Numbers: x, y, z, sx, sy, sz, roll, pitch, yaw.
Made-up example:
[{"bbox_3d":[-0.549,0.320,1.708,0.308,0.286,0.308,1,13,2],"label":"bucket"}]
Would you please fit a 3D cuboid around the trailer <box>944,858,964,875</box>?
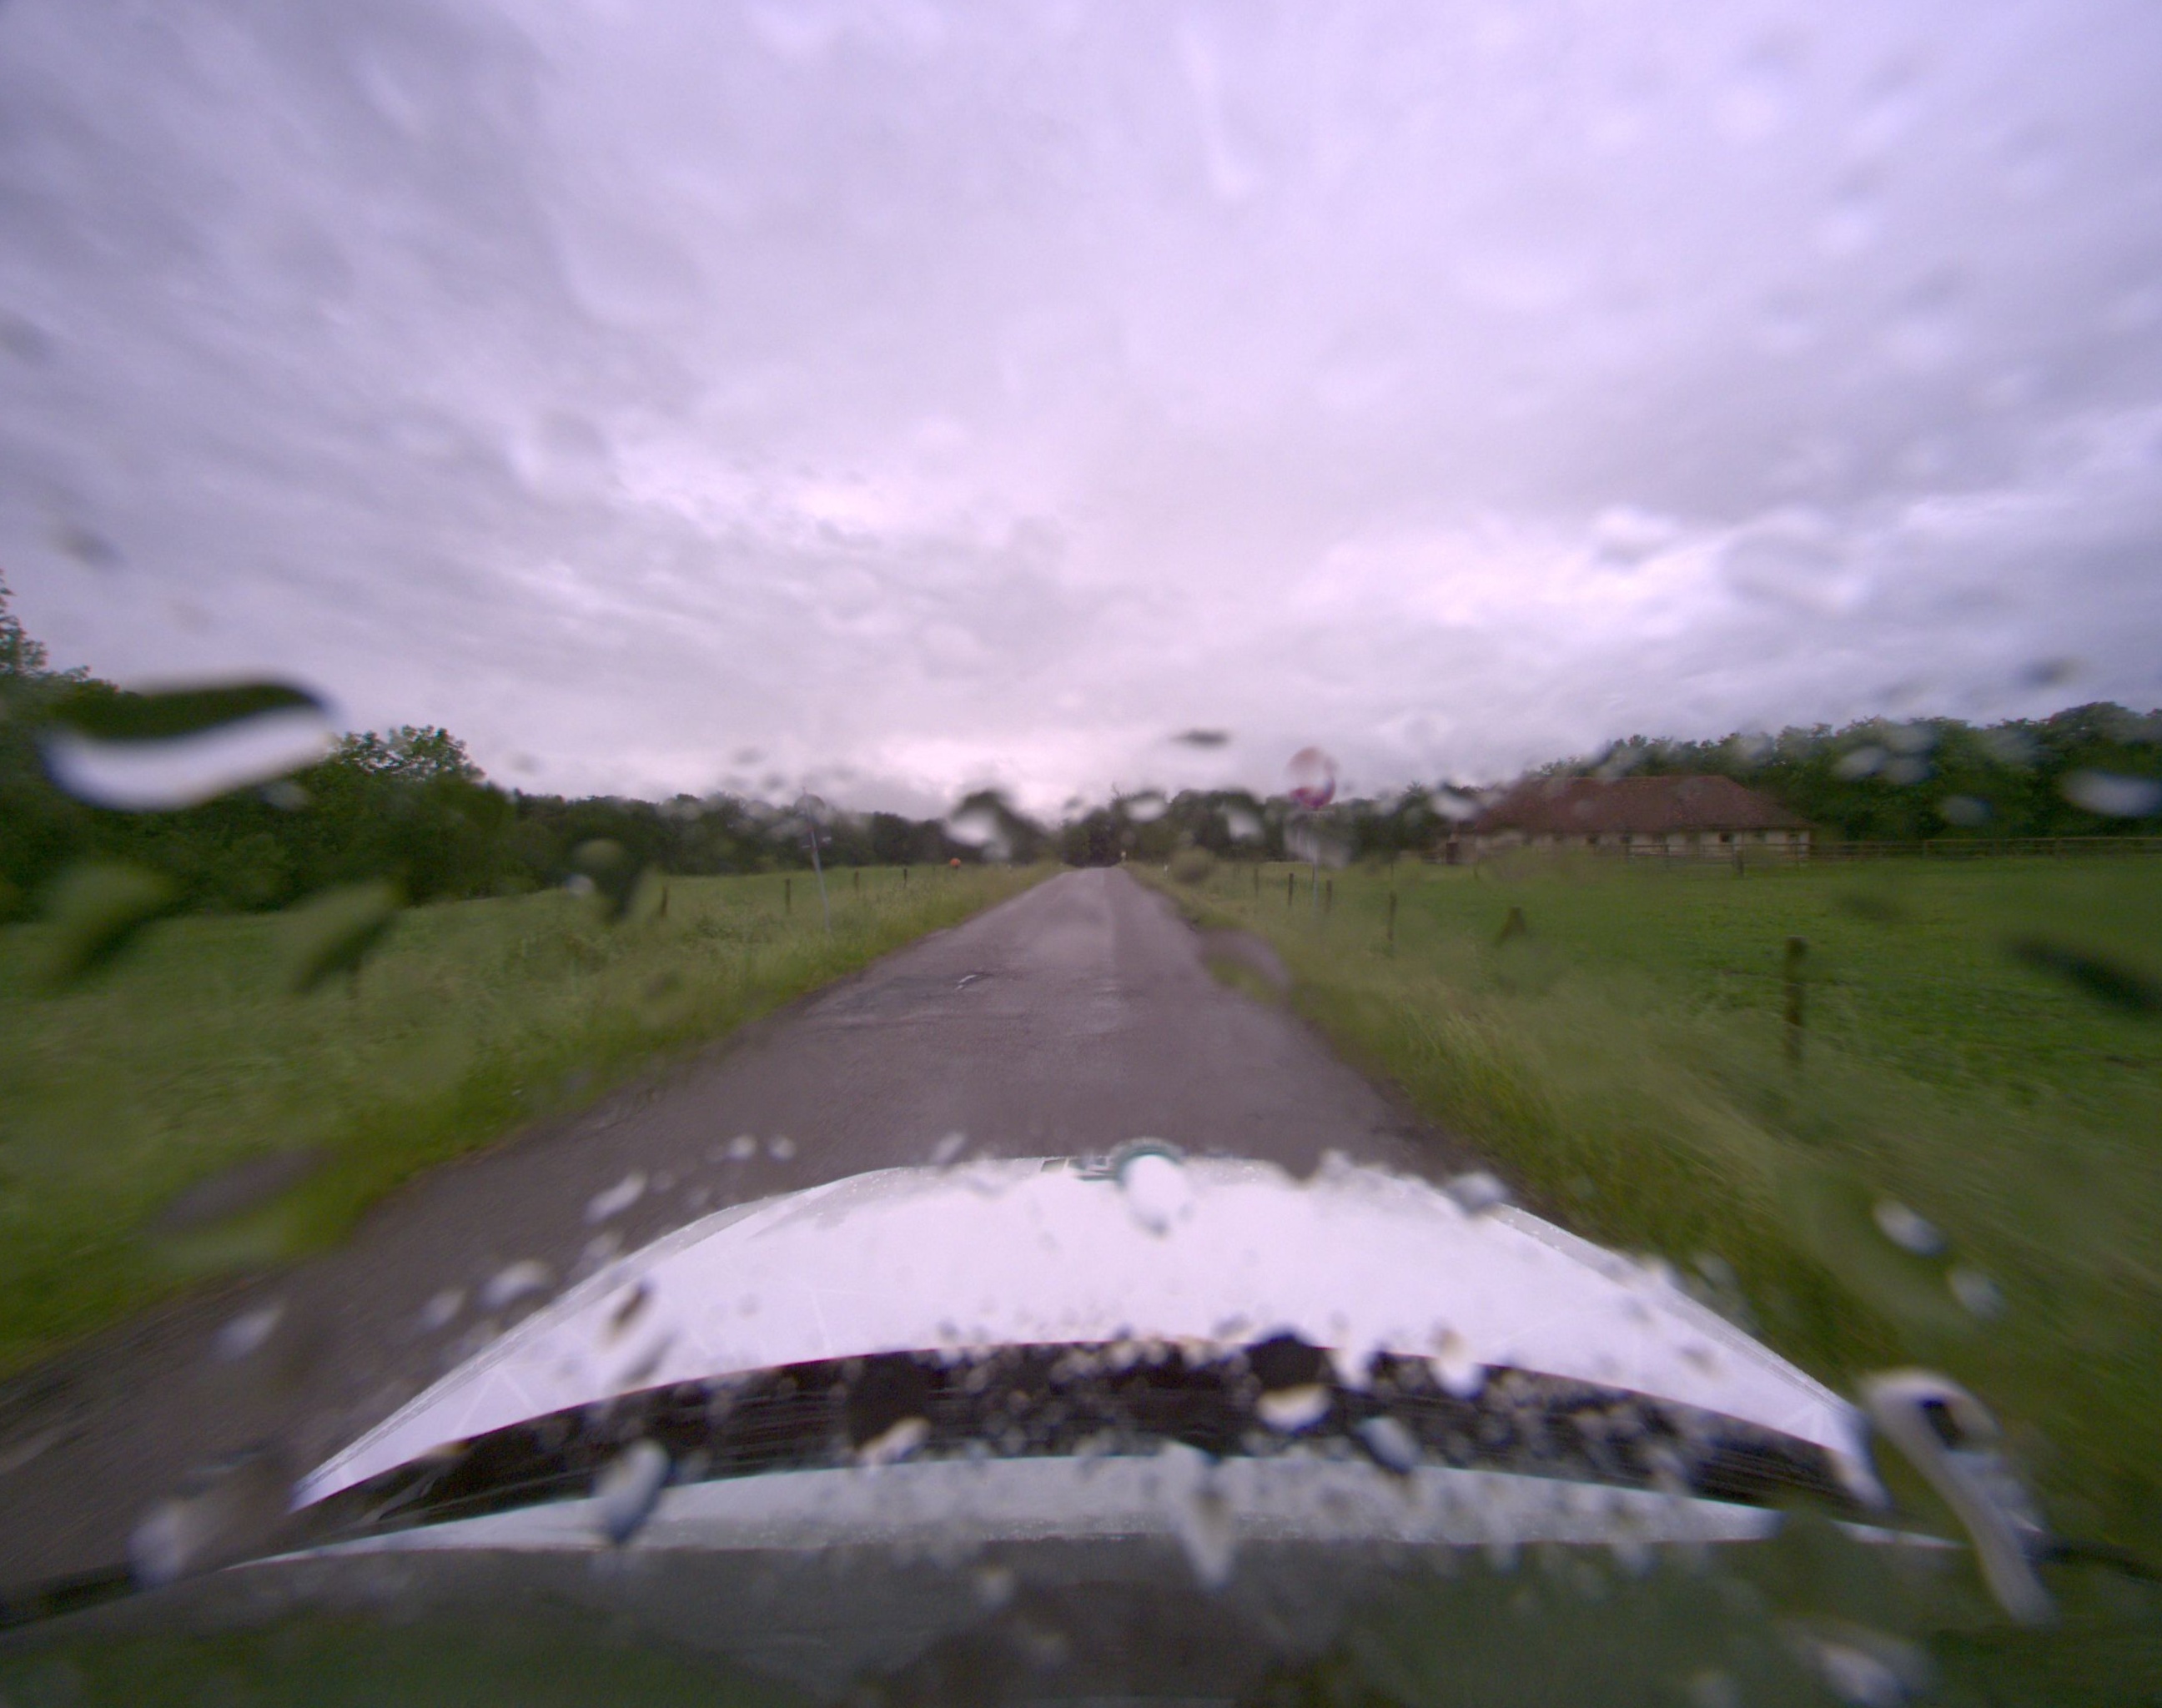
[{"bbox_3d":[-11.628,1.129,74.768,1.751,1.505,3.080,-1,0,-9],"label":"trailer"}]
